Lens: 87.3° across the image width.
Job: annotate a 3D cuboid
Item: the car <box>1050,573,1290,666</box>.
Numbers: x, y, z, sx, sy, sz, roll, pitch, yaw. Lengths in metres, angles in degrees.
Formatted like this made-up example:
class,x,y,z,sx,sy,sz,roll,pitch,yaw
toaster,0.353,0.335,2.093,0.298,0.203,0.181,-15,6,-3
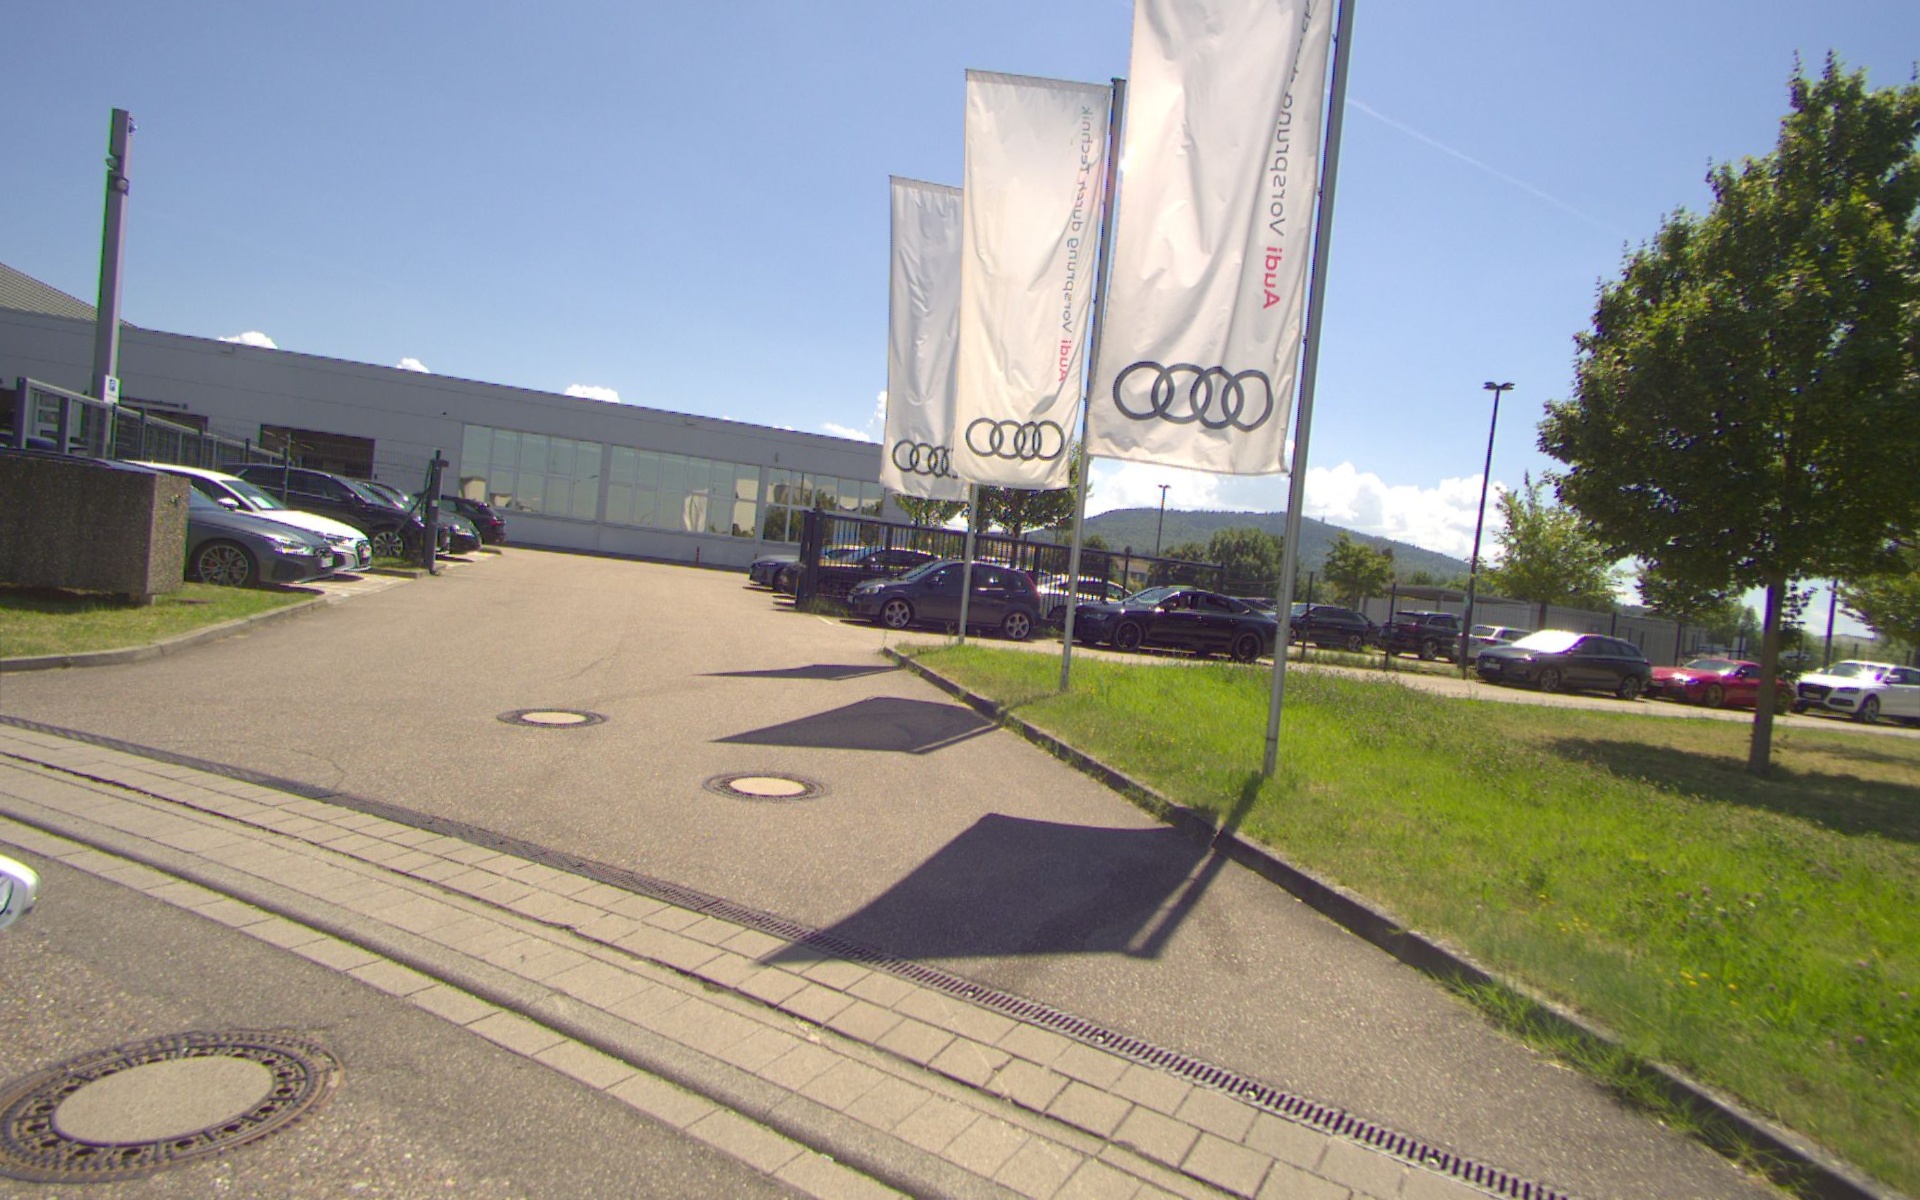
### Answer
class,x,y,z,sx,sy,sz,roll,pitch,yaw
car,4.361,0.398,21.036,4.502,1.420,1.773,6,3,-17

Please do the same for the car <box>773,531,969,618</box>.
class,x,y,z,sx,sy,sz,roll,pitch,yaw
car,-2.293,-0.665,25.805,4.558,1.652,1.957,6,3,-20

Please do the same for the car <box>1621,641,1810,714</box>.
class,x,y,z,sx,sy,sz,roll,pitch,yaw
car,19.826,2.032,26.445,4.107,1.375,1.773,6,3,-17

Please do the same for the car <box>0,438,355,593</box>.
class,x,y,z,sx,sy,sz,roll,pitch,yaw
car,-10.793,-1.139,12.820,4.872,1.487,1.957,6,3,-20

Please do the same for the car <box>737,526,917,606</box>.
class,x,y,z,sx,sy,sz,roll,pitch,yaw
car,-3.726,-0.950,27.998,4.558,1.652,1.957,6,3,-20

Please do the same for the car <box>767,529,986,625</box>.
class,x,y,z,sx,sy,sz,roll,pitch,yaw
car,-1.950,-0.534,23.177,4.558,1.652,1.957,6,3,-20

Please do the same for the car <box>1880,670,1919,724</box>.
class,x,y,z,sx,sy,sz,roll,pitch,yaw
car,30.158,3.103,30.190,4.049,1.460,1.817,6,3,-17

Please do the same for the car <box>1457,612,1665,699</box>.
class,x,y,z,sx,sy,sz,roll,pitch,yaw
car,14.727,1.351,24.699,4.338,1.588,1.773,6,3,-17

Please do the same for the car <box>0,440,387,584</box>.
class,x,y,z,sx,sy,sz,roll,pitch,yaw
car,-11.822,-1.318,15.476,4.872,1.549,1.816,6,3,-20

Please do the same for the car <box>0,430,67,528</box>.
class,x,y,z,sx,sy,sz,roll,pitch,yaw
car,-19.264,-2.414,17.821,4.716,1.664,1.822,6,1,-20

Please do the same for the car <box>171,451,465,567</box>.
class,x,y,z,sx,sy,sz,roll,pitch,yaw
car,-12.680,-1.773,20.246,4.558,1.652,1.957,6,3,-20

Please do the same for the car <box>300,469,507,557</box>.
class,x,y,z,sx,sy,sz,roll,pitch,yaw
car,-14.281,-2.207,26.104,4.314,1.652,1.957,6,3,-20

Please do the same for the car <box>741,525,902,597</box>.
class,x,y,z,sx,sy,sz,roll,pitch,yaw
car,-4.307,-1.209,31.244,4.558,1.652,1.957,6,3,-20

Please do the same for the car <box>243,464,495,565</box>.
class,x,y,z,sx,sy,sz,roll,pitch,yaw
car,-13.353,-1.917,23.074,4.558,1.652,1.957,6,3,-20

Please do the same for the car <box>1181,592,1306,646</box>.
class,x,y,z,sx,sy,sz,roll,pitch,yaw
car,10.724,0.694,38.097,3.941,1.577,2.102,5,2,-20

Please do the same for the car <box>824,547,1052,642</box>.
class,x,y,z,sx,sy,sz,roll,pitch,yaw
car,-0.468,-0.113,19.749,4.081,1.367,1.773,6,3,-17

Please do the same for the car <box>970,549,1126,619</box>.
class,x,y,z,sx,sy,sz,roll,pitch,yaw
car,2.620,-0.492,29.973,4.151,1.651,1.787,5,2,-19

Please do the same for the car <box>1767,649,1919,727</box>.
class,x,y,z,sx,sy,sz,roll,pitch,yaw
car,25.112,2.478,28.037,4.328,1.669,1.817,6,3,-17

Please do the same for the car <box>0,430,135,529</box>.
class,x,y,z,sx,sy,sz,roll,pitch,yaw
car,-19.840,-2.581,20.388,4.352,1.716,1.822,6,1,-20

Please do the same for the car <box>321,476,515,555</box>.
class,x,y,z,sx,sy,sz,roll,pitch,yaw
car,-15.549,-2.412,29.157,4.558,1.652,1.957,6,3,-20
